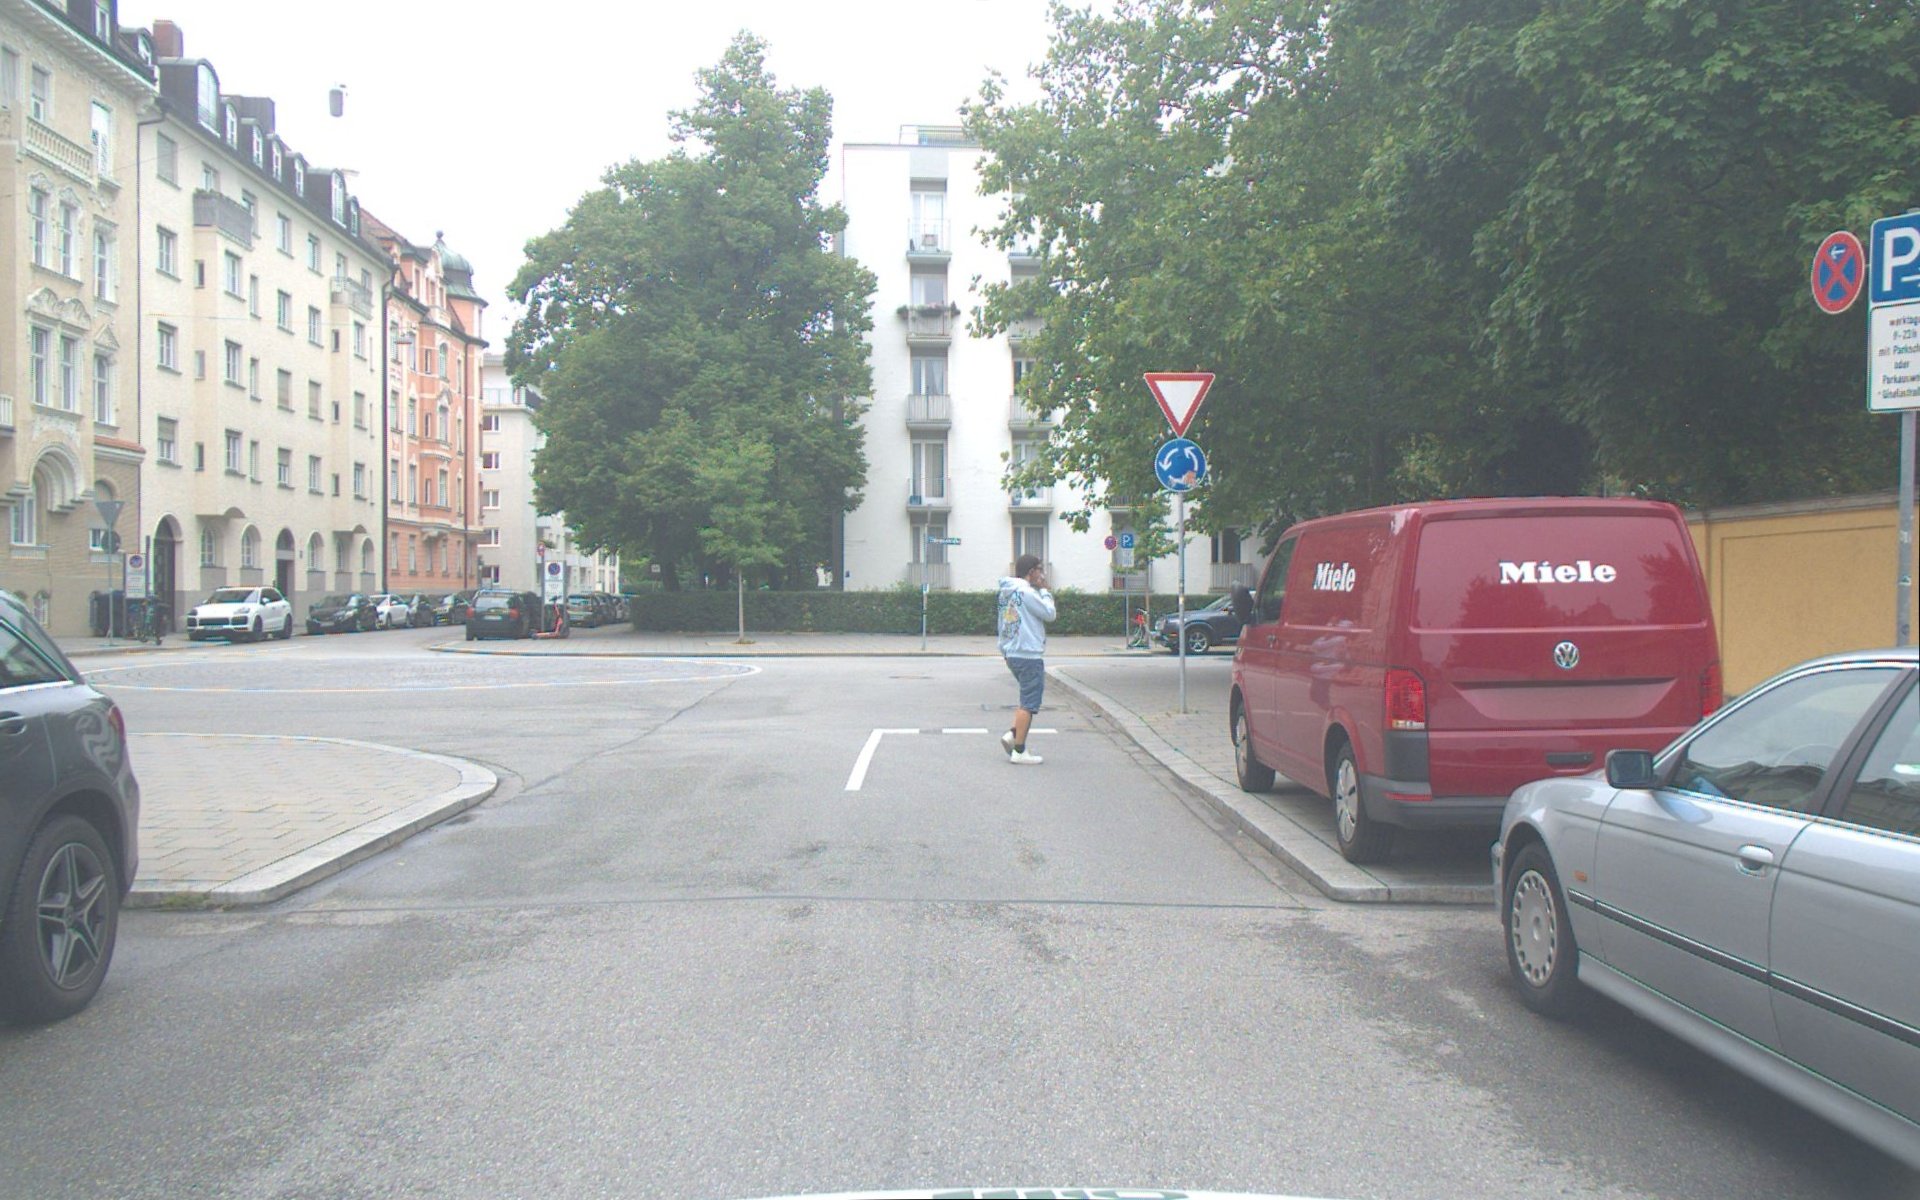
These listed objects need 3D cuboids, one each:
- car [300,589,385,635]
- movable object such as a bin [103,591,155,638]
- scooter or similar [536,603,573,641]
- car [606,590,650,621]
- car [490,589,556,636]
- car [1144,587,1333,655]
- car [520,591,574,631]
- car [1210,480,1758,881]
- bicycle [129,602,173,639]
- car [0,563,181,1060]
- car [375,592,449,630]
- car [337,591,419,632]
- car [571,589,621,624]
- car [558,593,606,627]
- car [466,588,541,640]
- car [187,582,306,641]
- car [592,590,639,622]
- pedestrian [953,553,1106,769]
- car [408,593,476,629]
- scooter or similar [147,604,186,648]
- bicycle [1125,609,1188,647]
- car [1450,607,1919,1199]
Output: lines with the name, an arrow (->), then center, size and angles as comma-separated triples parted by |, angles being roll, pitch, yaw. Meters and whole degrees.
car -> -23.179, 0.413, 62.261 | 1.938, 1.644, 4.705 | 1, 0, -8
movable object such as a bin -> -26.061, 0.458, 51.871 | 1.069, 1.450, 1.173 | 0, 0, -3
scooter or similar -> -12.168, 0.654, 49.610 | 0.989, 1.107, 0.386 | 1, 0, -32
car -> -18.638, 0.313, 92.956 | 1.798, 1.663, 3.818 | -1, 0, -2
car -> -15.113, 0.406, 57.381 | 1.760, 1.531, 4.225 | -1, 0, -9
car -> 7.682, 0.588, 45.888 | 4.806, 1.823, 1.996 | 0, -1, -9
car -> -16.835, 0.433, 67.606 | 1.760, 1.531, 4.106 | -1, 0, -9
car -> 2.978, 0.394, 10.657 | 1.836, 1.954, 4.886 | 1, 0, -2
bicycle -> -24.079, 0.588, 49.228 | 0.552, 1.067, 1.828 | 0, 0, -5
car -> -3.992, 0.713, 4.483 | 1.711, 1.630, 4.495 | -1, 0, -2
car -> -23.897, 0.468, 72.280 | 1.936, 1.608, 4.405 | 1, 0, -3
car -> -23.576, 0.448, 67.125 | 1.936, 1.608, 4.405 | 1, 0, -3
car -> -18.274, 0.320, 83.253 | 1.799, 1.663, 4.112 | -1, 0, -3
car -> -17.935, 0.469, 78.656 | 1.800, 1.531, 4.108 | -1, 0, -7
car -> -14.353, 0.399, 52.182 | 1.785, 1.531, 4.413 | -1, 0, -9
car -> -22.233, 0.327, 51.748 | 1.937, 1.730, 4.835 | 1, 0, -5
car -> -18.503, 0.287, 88.915 | 1.798, 1.663, 3.818 | -1, 0, -2
pedestrian -> 0.604, 0.511, 14.455 | 1.039, 1.802, 0.866 | 0, 0, -34
car -> -24.158, 0.486, 77.272 | 1.936, 1.608, 4.406 | 1, 0, -3
scooter or similar -> -22.319, 0.720, 46.517 | 1.191, 1.214, 0.466 | 0, 0, 35
bicycle -> 5.729, 0.808, 48.170 | 1.794, 1.067, 0.490 | 0, 0, -16
car -> 3.157, 0.809, 4.927 | 1.847, 1.474, 4.366 | 2, 0, -4
